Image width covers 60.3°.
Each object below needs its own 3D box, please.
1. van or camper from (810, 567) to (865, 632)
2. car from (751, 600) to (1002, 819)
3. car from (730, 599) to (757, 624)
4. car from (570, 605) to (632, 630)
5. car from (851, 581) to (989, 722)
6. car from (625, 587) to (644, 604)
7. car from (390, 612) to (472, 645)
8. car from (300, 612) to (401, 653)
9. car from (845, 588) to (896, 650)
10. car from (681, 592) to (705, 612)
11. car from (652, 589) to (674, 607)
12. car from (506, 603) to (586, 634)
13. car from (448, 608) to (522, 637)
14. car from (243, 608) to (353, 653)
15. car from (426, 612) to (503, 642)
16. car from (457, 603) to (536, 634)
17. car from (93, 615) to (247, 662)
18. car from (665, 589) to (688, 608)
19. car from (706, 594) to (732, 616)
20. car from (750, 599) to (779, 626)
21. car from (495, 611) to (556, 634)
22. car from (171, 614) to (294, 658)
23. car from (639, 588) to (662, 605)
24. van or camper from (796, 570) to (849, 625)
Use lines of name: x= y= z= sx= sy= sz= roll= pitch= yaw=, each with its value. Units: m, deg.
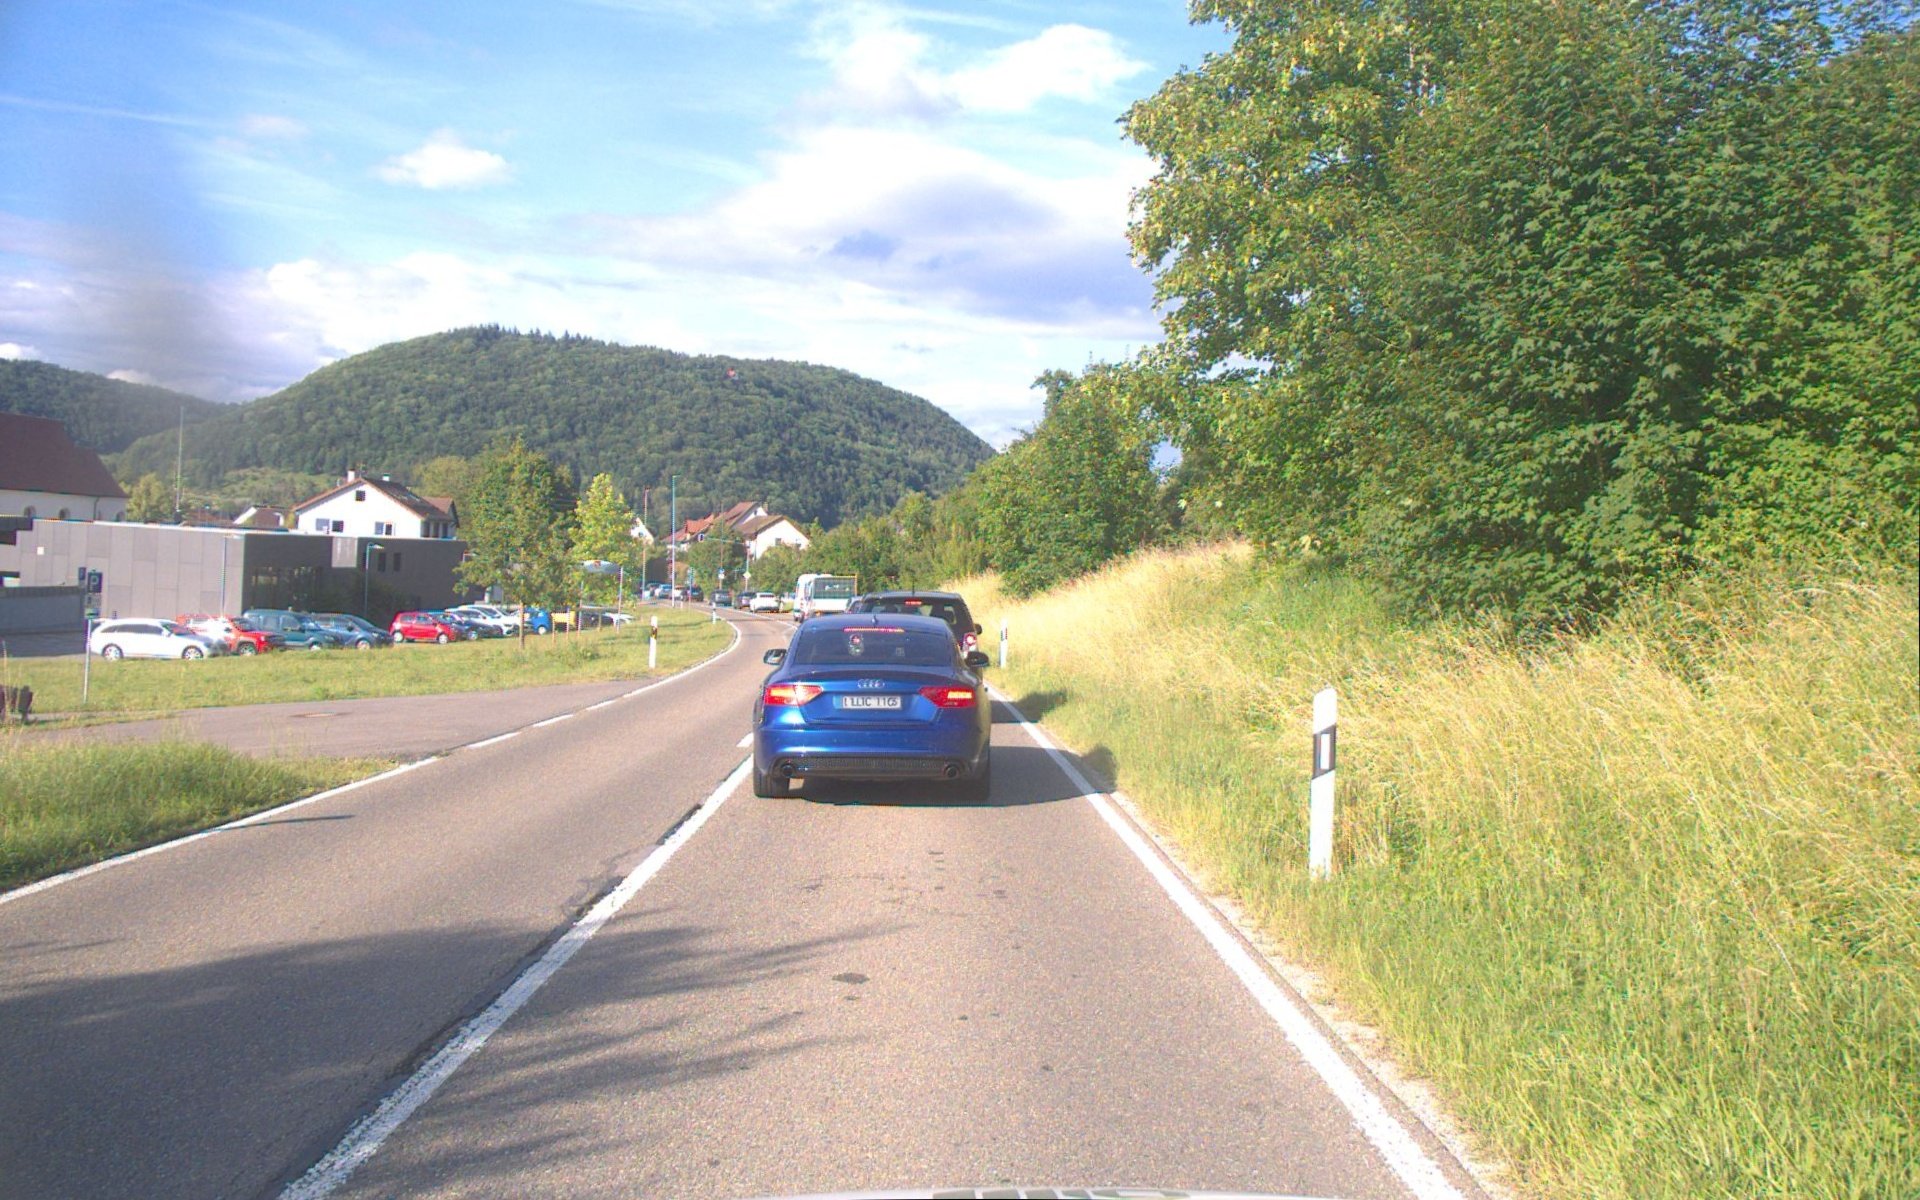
van or camper: x=-5.166 y=-0.012 z=69.060 sx=2.013 sy=2.549 sz=5.802 roll=0 pitch=0 yaw=-7
car: x=-0.605 y=0.766 z=13.262 sx=1.707 sy=1.476 sz=3.516 roll=2 pitch=0 yaw=-1
car: x=-17.312 y=0.902 z=132.212 sx=1.632 sy=1.958 sz=3.983 roll=0 pitch=0 yaw=-16
car: x=-25.349 y=1.225 z=116.863 sx=3.951 sy=1.689 sz=1.656 roll=-1 pitch=0 yaw=3
car: x=-0.594 y=0.622 z=21.670 sx=1.613 sy=1.653 sz=3.514 roll=2 pitch=0 yaw=-4
car: x=-38.903 y=-0.523 z=197.572 sx=1.653 sy=1.958 sz=3.974 roll=0 pitch=0 yaw=-21
car: x=-26.412 y=1.413 z=82.642 sx=3.548 sy=1.469 sz=1.649 roll=1 pitch=1 yaw=3
car: x=-26.685 y=1.419 z=72.501 sx=3.738 sy=1.752 sz=1.732 roll=0 pitch=0 yaw=2
car: x=-3.124 y=0.611 z=57.028 sx=1.537 sy=2.049 sz=3.995 roll=0 pitch=0 yaw=-6
car: x=-26.720 y=0.216 z=165.462 sx=1.652 sy=1.958 sz=3.976 roll=0 pitch=0 yaw=-20
car: x=-32.793 y=-0.185 z=182.447 sx=1.653 sy=1.958 sz=3.974 roll=0 pitch=0 yaw=-21
car: x=-25.711 y=1.131 z=102.701 sx=4.457 sy=1.846 sz=1.842 roll=-1 pitch=0 yaw=3
car: x=-26.073 y=1.238 z=90.870 sx=3.589 sy=1.519 sz=1.598 roll=0 pitch=2 yaw=3
car: x=-27.132 y=1.226 z=67.837 sx=3.782 sy=1.752 sz=1.756 roll=1 pitch=0 yaw=0
car: x=-26.267 y=1.420 z=87.701 sx=3.548 sy=1.429 sz=1.598 roll=0 pitch=3 yaw=3
car: x=-26.349 y=1.070 z=94.153 sx=3.991 sy=1.702 sz=1.597 roll=0 pitch=1 yaw=3
car: x=-28.274 y=1.368 z=59.265 sx=4.544 sy=1.616 sz=2.001 roll=0 pitch=0 yaw=2
car: x=-29.945 y=-0.193 z=174.528 sx=1.652 sy=1.958 sz=3.976 roll=0 pitch=0 yaw=-20
car: x=-21.670 y=0.472 z=148.447 sx=1.634 sy=1.958 sz=3.978 roll=0 pitch=0 yaw=-19
car: x=-14.258 y=0.913 z=120.603 sx=1.631 sy=1.958 sz=3.985 roll=0 pitch=0 yaw=-14
car: x=-26.286 y=1.358 z=100.204 sx=3.303 sy=1.397 sz=1.659 roll=0 pitch=0 yaw=-4
car: x=-27.324 y=1.344 z=62.166 sx=3.838 sy=1.606 sz=1.756 roll=0 pitch=0 yaw=2
car: x=-35.586 y=-0.423 z=190.287 sx=1.927 sy=1.958 sz=3.974 roll=0 pitch=0 yaw=-21
van or camper: x=-7.232 y=-0.113 z=86.417 sx=2.239 sy=2.761 sz=5.754 roll=0 pitch=0 yaw=-10
